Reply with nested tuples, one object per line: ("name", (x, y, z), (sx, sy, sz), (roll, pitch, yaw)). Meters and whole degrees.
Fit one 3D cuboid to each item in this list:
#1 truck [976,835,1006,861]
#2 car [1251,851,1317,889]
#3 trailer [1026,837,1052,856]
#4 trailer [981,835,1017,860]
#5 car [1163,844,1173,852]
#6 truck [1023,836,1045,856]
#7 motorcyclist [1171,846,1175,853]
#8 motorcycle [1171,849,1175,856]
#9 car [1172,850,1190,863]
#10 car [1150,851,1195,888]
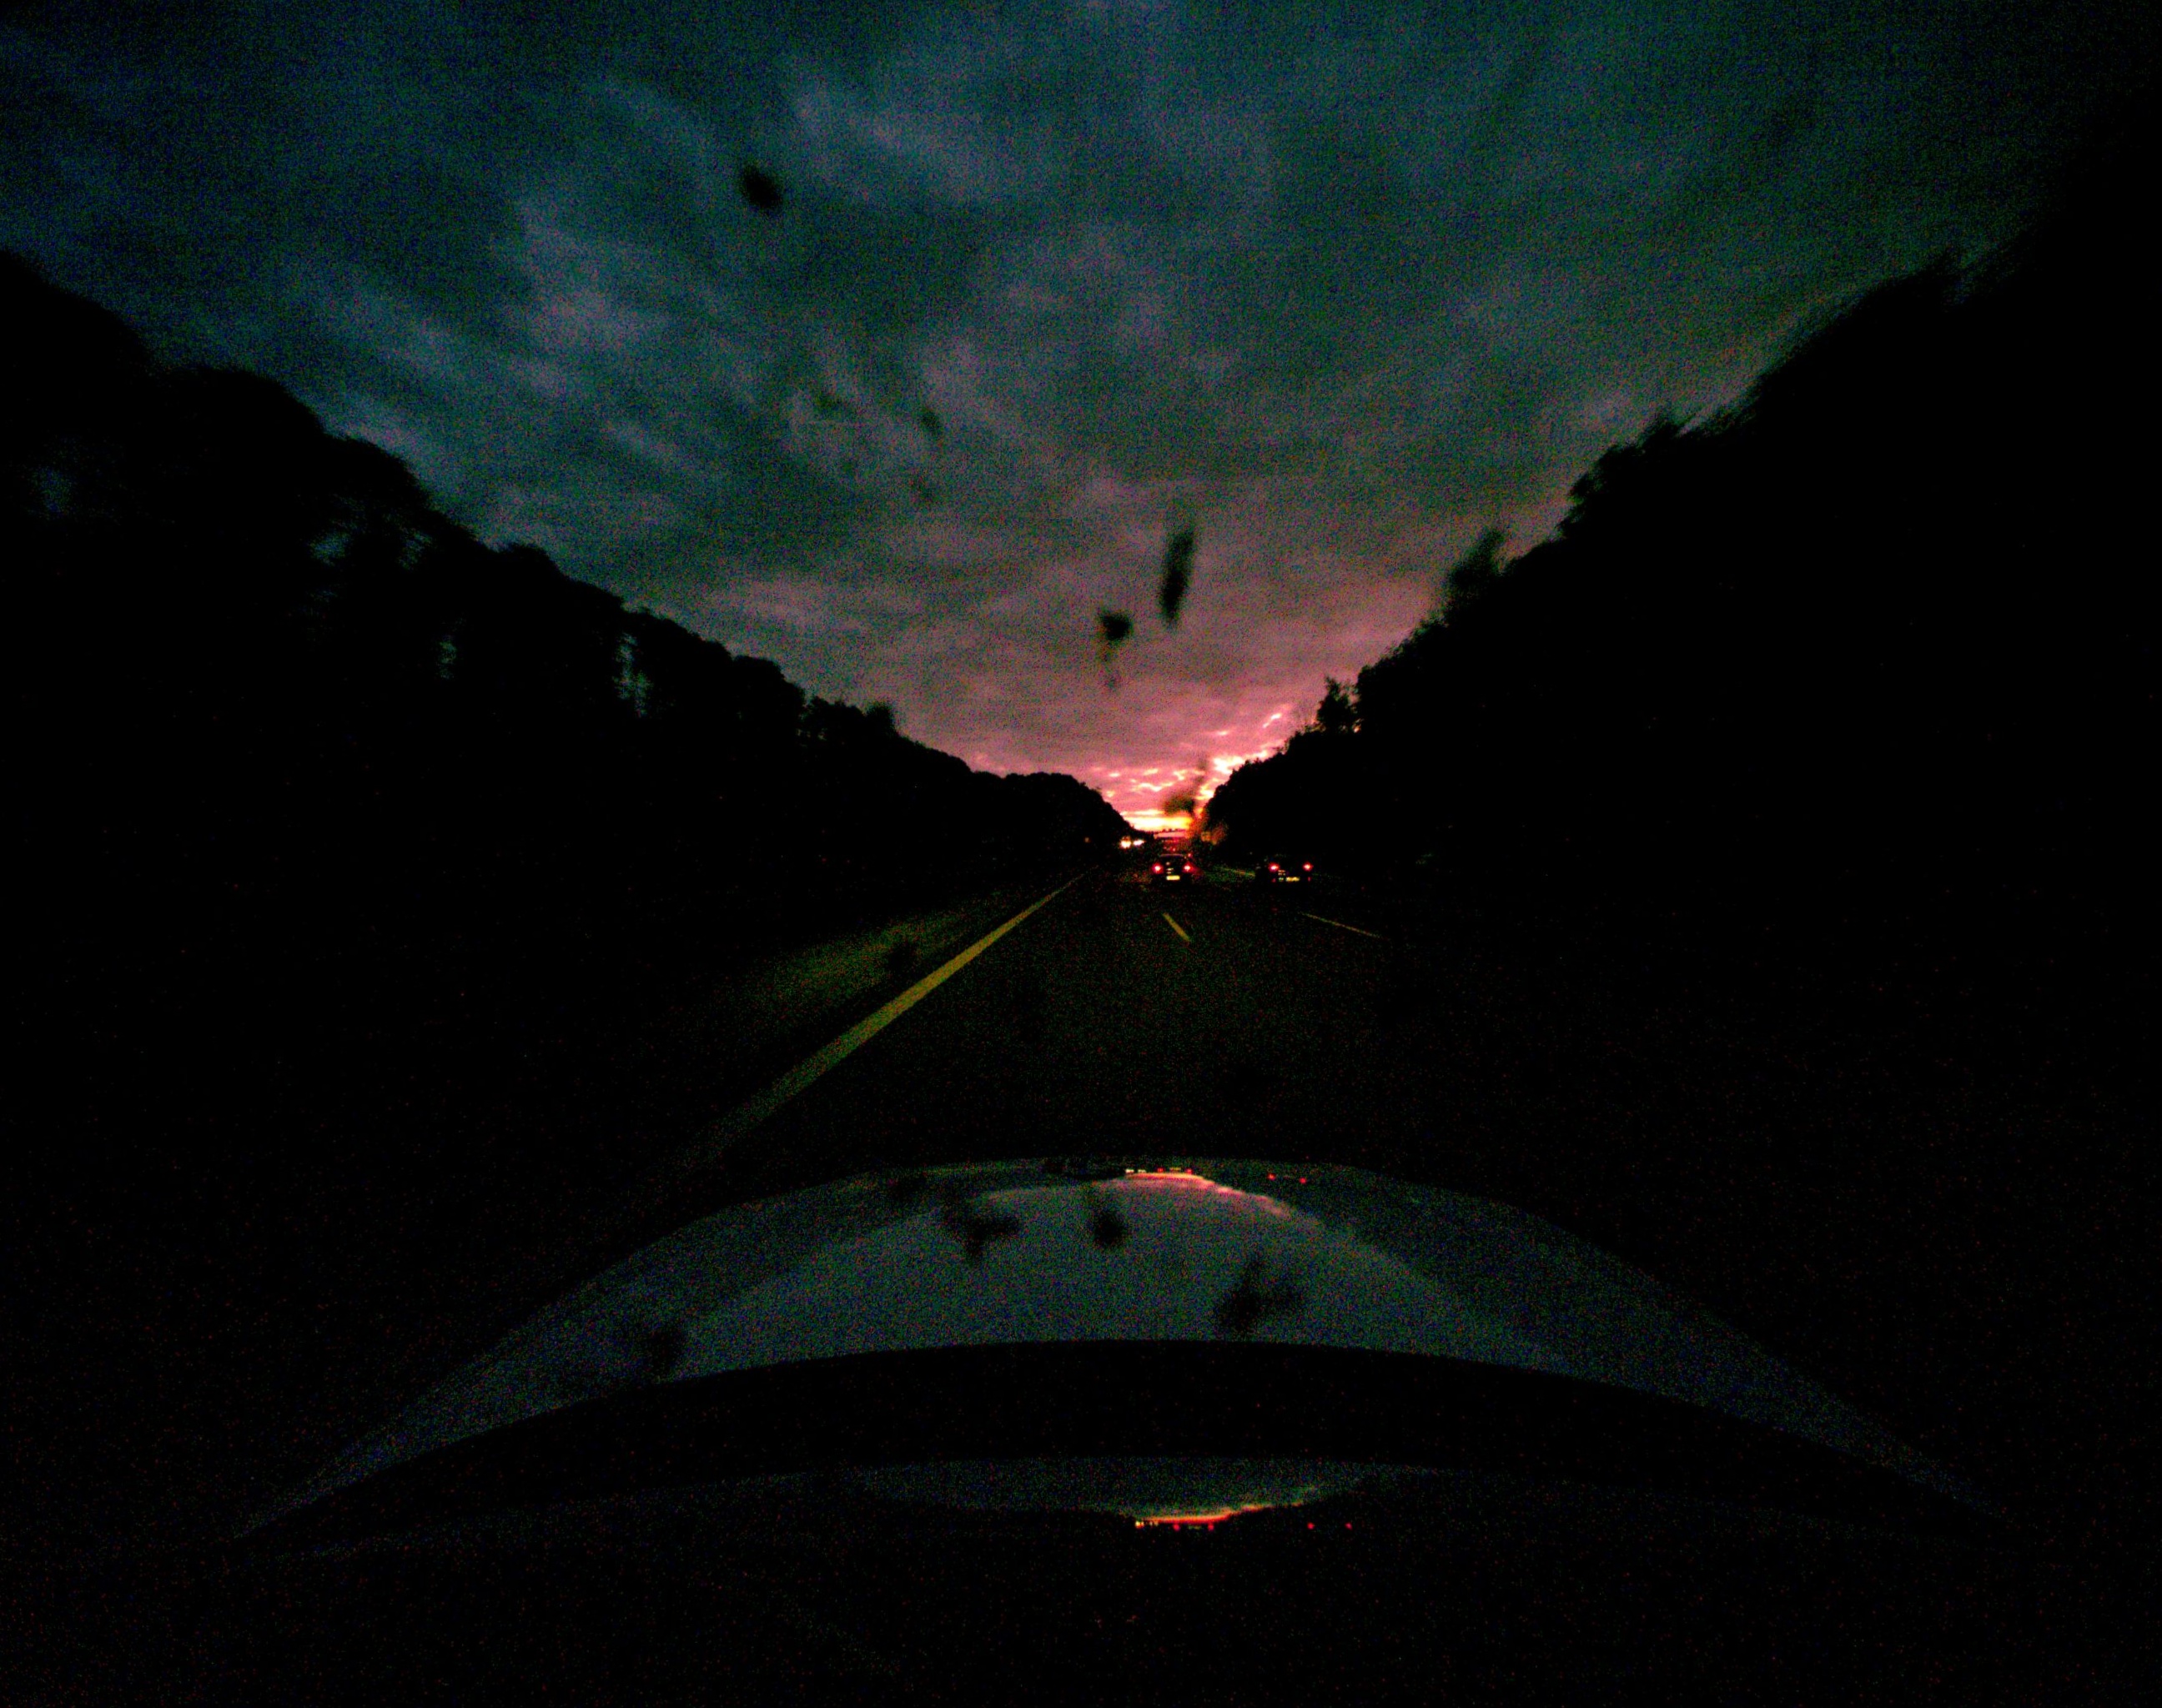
("truck", (-15.166, -1.008, 138.284), (3.173, 4.104, 7.706), (-2, 0, 8))
("car", (8.331, 0.614, 33.828), (1.857, 1.435, 4.589), (-1, 1, 4))
("trailer", (-9.509, -1.754, 184.504), (3.173, 4.104, 14.215), (-2, 0, 8))
("trailer", (-14.362, -1.118, 144.587), (3.174, 4.104, 13.769), (-2, 0, 7))
("car", (19.087, -1.296, 178.567), (1.858, 1.494, 4.401), (-1, 0, 2))
("truck", (-10.248, -1.757, 178.939), (3.173, 4.104, 7.706), (-2, 0, 8))
("motorcyclist", (17.670, -0.802, 156.260), (0.825, 1.291, 1.192), (-2, 0, 6))
("motorcycle", (17.701, -0.281, 156.327), (0.825, 1.134, 2.480), (-2, 0, 7))
("car", (11.574, 0.324, 94.456), (1.818, 1.476, 4.401), (-1, 0, 2))
("car", (3.995, 0.649, 36.059), (1.697, 1.509, 4.235), (-1, 0, 3))
